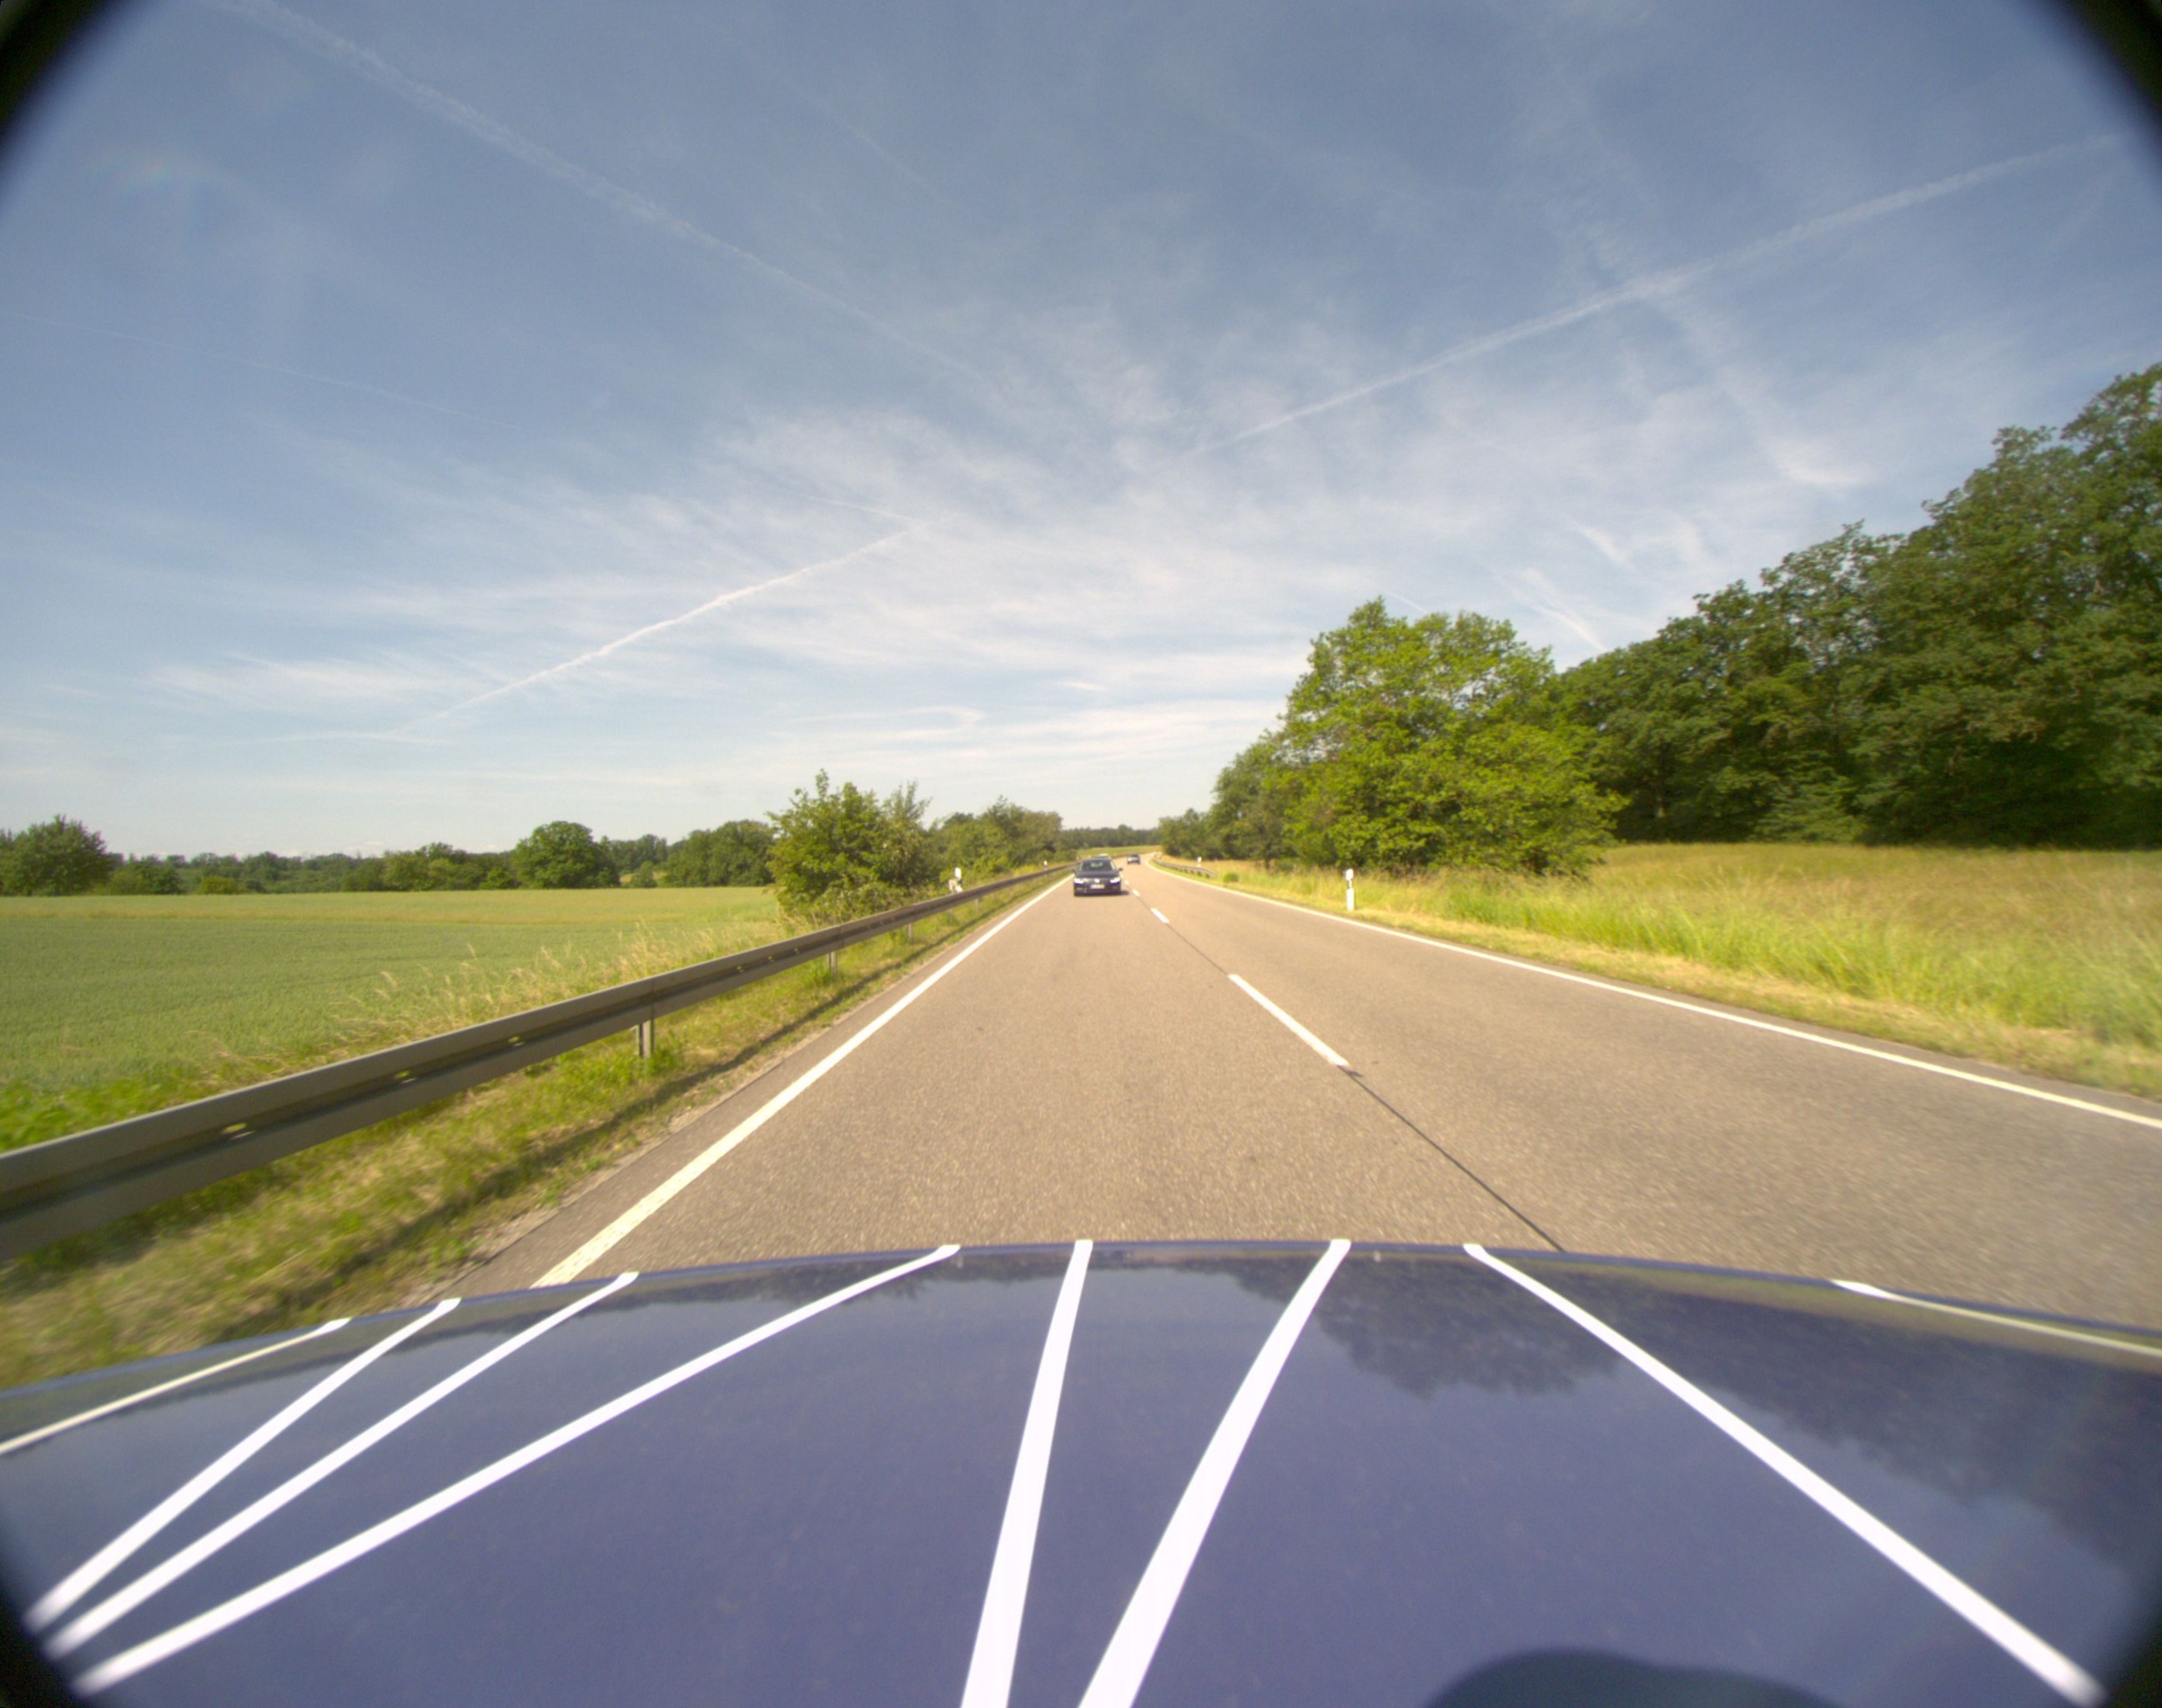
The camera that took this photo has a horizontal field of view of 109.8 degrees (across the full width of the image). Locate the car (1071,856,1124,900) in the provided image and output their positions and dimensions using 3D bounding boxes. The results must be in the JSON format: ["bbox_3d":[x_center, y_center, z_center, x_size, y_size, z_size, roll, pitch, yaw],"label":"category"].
[{"bbox_3d":[0.663,0.863,28.839,1.821,1.501,4.501,-2,-1,2],"label":"car"}]

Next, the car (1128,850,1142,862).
[{"bbox_3d":[7.574,0.263,106.640,1.749,1.506,4.053,-1,0,1],"label":"car"}]

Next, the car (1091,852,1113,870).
[{"bbox_3d":[1.991,0.649,70.717,1.928,1.501,4.292,-2,-1,2],"label":"car"}]

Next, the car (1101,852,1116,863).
[{"bbox_3d":[3.861,0.467,107.823,1.928,1.501,4.291,-2,-1,-1],"label":"car"}]
